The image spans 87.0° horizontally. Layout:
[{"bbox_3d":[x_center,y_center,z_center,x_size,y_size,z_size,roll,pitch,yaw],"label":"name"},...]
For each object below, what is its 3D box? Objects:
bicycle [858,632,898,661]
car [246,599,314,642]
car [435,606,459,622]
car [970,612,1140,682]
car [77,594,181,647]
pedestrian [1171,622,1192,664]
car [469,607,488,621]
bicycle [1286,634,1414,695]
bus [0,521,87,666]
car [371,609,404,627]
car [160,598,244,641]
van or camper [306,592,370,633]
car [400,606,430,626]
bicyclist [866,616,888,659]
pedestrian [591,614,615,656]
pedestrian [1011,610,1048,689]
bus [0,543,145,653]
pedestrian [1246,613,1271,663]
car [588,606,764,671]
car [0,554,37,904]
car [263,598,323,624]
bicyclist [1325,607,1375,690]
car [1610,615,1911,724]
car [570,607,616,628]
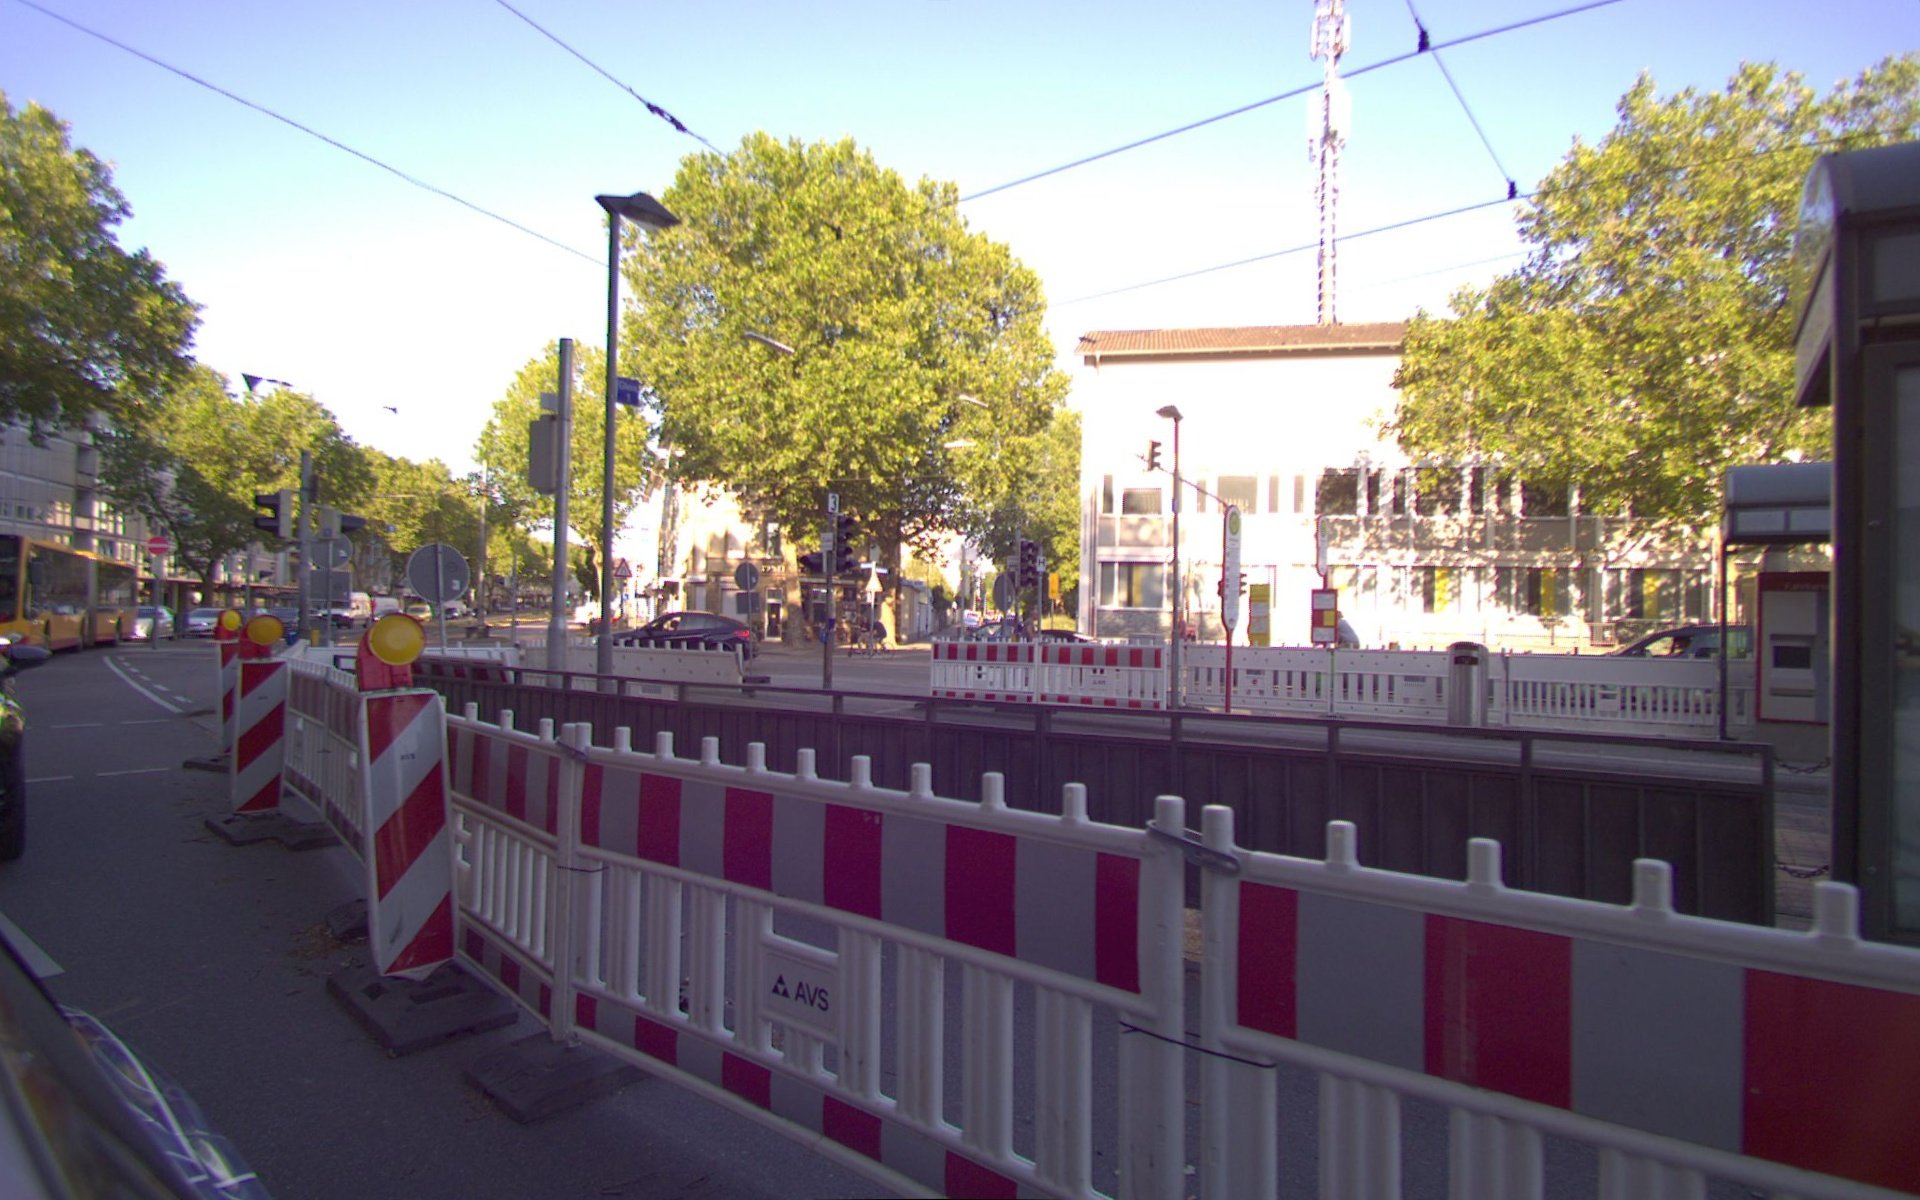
[{"bbox_3d":[-3.191,1.801,39.255,1.621,1.073,0.543,0,-2,42],"label":"bicycle"},{"bbox_3d":[-33.897,1.006,50.535,1.965,2.029,4.013,1,-1,-22],"label":"car"},{"bbox_3d":[-58.194,1.591,114.826,1.810,1.816,4.143,1,-1,-18],"label":"car"},{"bbox_3d":[2.475,1.188,26.492,3.986,1.674,1.979,0,-1,31],"label":"car"},{"bbox_3d":[-33.517,0.836,40.956,1.965,2.029,4.111,1,-1,-20],"label":"car"},{"bbox_3d":[7.820,1.507,35.726,0.583,1.466,0.581,0,-2,27],"label":"pedestrian"},{"bbox_3d":[-65.390,1.883,137.513,1.810,1.816,4.143,1,-1,-18],"label":"car"},{"bbox_3d":[8.366,1.358,21.771,2.476,1.217,0.683,0,-2,37],"label":"bicycle"},{"bbox_3d":[-23.842,-0.124,24.935,2.678,3.130,8.642,2,-2,-36],"label":"bus"},{"bbox_3d":[-47.329,1.494,83.709,1.675,1.481,3.776,1,-1,-18],"label":"car"},{"bbox_3d":[-37.326,0.959,49.930,1.966,2.029,4.012,1,-1,-16],"label":"car"},{"bbox_3d":[-44.321,0.902,72.294,2.385,2.739,6.150,1,-1,-17],"label":"van or camper"},{"bbox_3d":[-51.270,1.501,95.282,1.810,1.816,4.143,1,-1,-18],"label":"car"},{"bbox_3d":[-3.216,1.455,39.282,0.643,1.626,0.544,0,-2,41],"label":"bicyclist"},{"bbox_3d":[-13.312,1.294,37.717,0.594,1.545,0.746,2,-2,-37],"label":"pedestrian"},{"bbox_3d":[1.568,1.112,22.872,0.545,1.760,0.693,1,-1,-23],"label":"pedestrian"},{"bbox_3d":[-28.833,0.004,32.580,2.676,3.130,8.623,2,-1,-30],"label":"bus"},{"bbox_3d":[9.443,1.194,32.035,0.649,1.564,0.563,0,-2,29],"label":"pedestrian"},{"bbox_3d":[-7.741,1.062,28.010,4.485,1.674,2.004,1,-1,-9],"label":"car"},{"bbox_3d":[-6.722,0.618,5.713,3.999,1.719,1.817,0,-2,42],"label":"car"},{"bbox_3d":[-56.325,0.946,85.439,3.938,2.029,2.003,2,-2,-41],"label":"car"},{"bbox_3d":[8.383,1.032,21.737,0.833,1.741,0.726,0,-2,37],"label":"bicyclist"},{"bbox_3d":[13.972,1.140,17.933,3.994,1.674,1.895,0,-2,38],"label":"car"},{"bbox_3d":[-36.328,1.758,100.163,1.991,2.029,3.962,0,-1,28],"label":"car"}]
